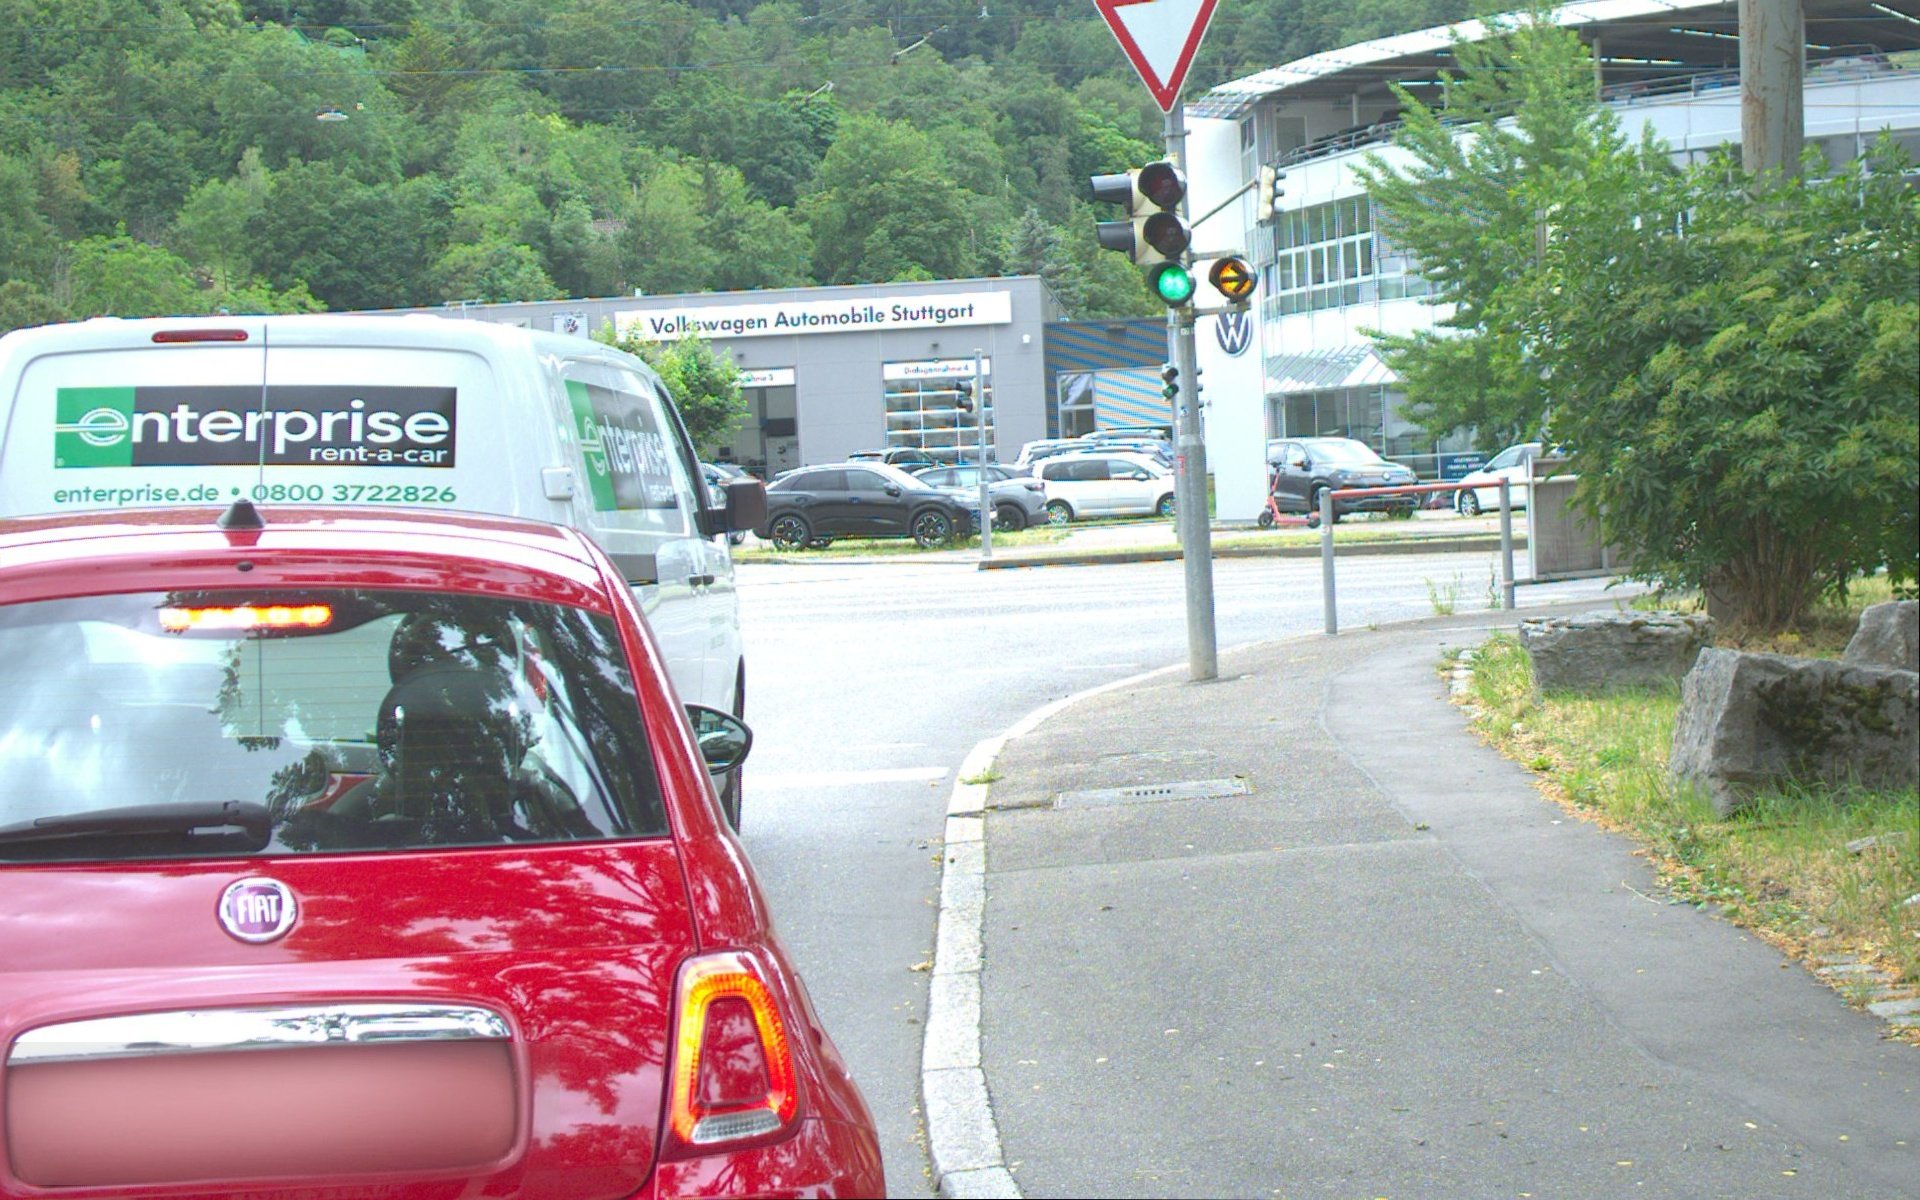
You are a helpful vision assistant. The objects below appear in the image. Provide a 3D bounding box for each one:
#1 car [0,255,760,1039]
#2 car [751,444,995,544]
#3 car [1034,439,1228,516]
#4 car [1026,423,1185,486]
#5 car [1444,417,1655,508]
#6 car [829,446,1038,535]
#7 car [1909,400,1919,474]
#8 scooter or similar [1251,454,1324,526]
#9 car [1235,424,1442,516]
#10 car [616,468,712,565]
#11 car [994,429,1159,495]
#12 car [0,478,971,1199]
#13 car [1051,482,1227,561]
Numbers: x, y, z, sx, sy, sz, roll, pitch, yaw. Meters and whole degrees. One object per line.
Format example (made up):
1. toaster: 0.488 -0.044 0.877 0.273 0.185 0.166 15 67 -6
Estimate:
1. car: -1.868 -0.013 11.412 1.998 2.033 4.832 1 3 1
2. car: -1.532 -1.915 61.501 3.989 1.634 1.999 1 5 13
3. car: 4.030 -2.884 81.313 4.496 1.723 2.000 1 0 2
4. car: 4.243 -4.252 100.655 4.495 1.723 2.000 1 0 -1
5. car: 11.398 -2.646 66.726 1.993 1.634 4.001 1 1 -27
6. car: -0.559 -2.213 70.126 3.986 1.700 2.001 1 0 -9
7. car: 21.815 -3.471 71.155 1.921 1.548 4.001 -4 3 -27
8. scooter or similar: 5.936 -1.991 62.335 1.200 1.283 0.575 1 0 -5
9. car: 7.142 -2.450 65.269 1.993 1.634 4.001 -2 2 -27
10. car: -6.773 -1.885 79.163 1.993 2.007 5.018 -3 0 -4
11. car: 3.246 -3.857 96.317 4.495 1.723 2.000 1 0 -1
12. car: -1.246 0.565 5.850 1.697 1.520 4.002 1 2 -12
13. car: 4.698 -2.062 90.803 4.495 1.990 2.000 1 0 -1
